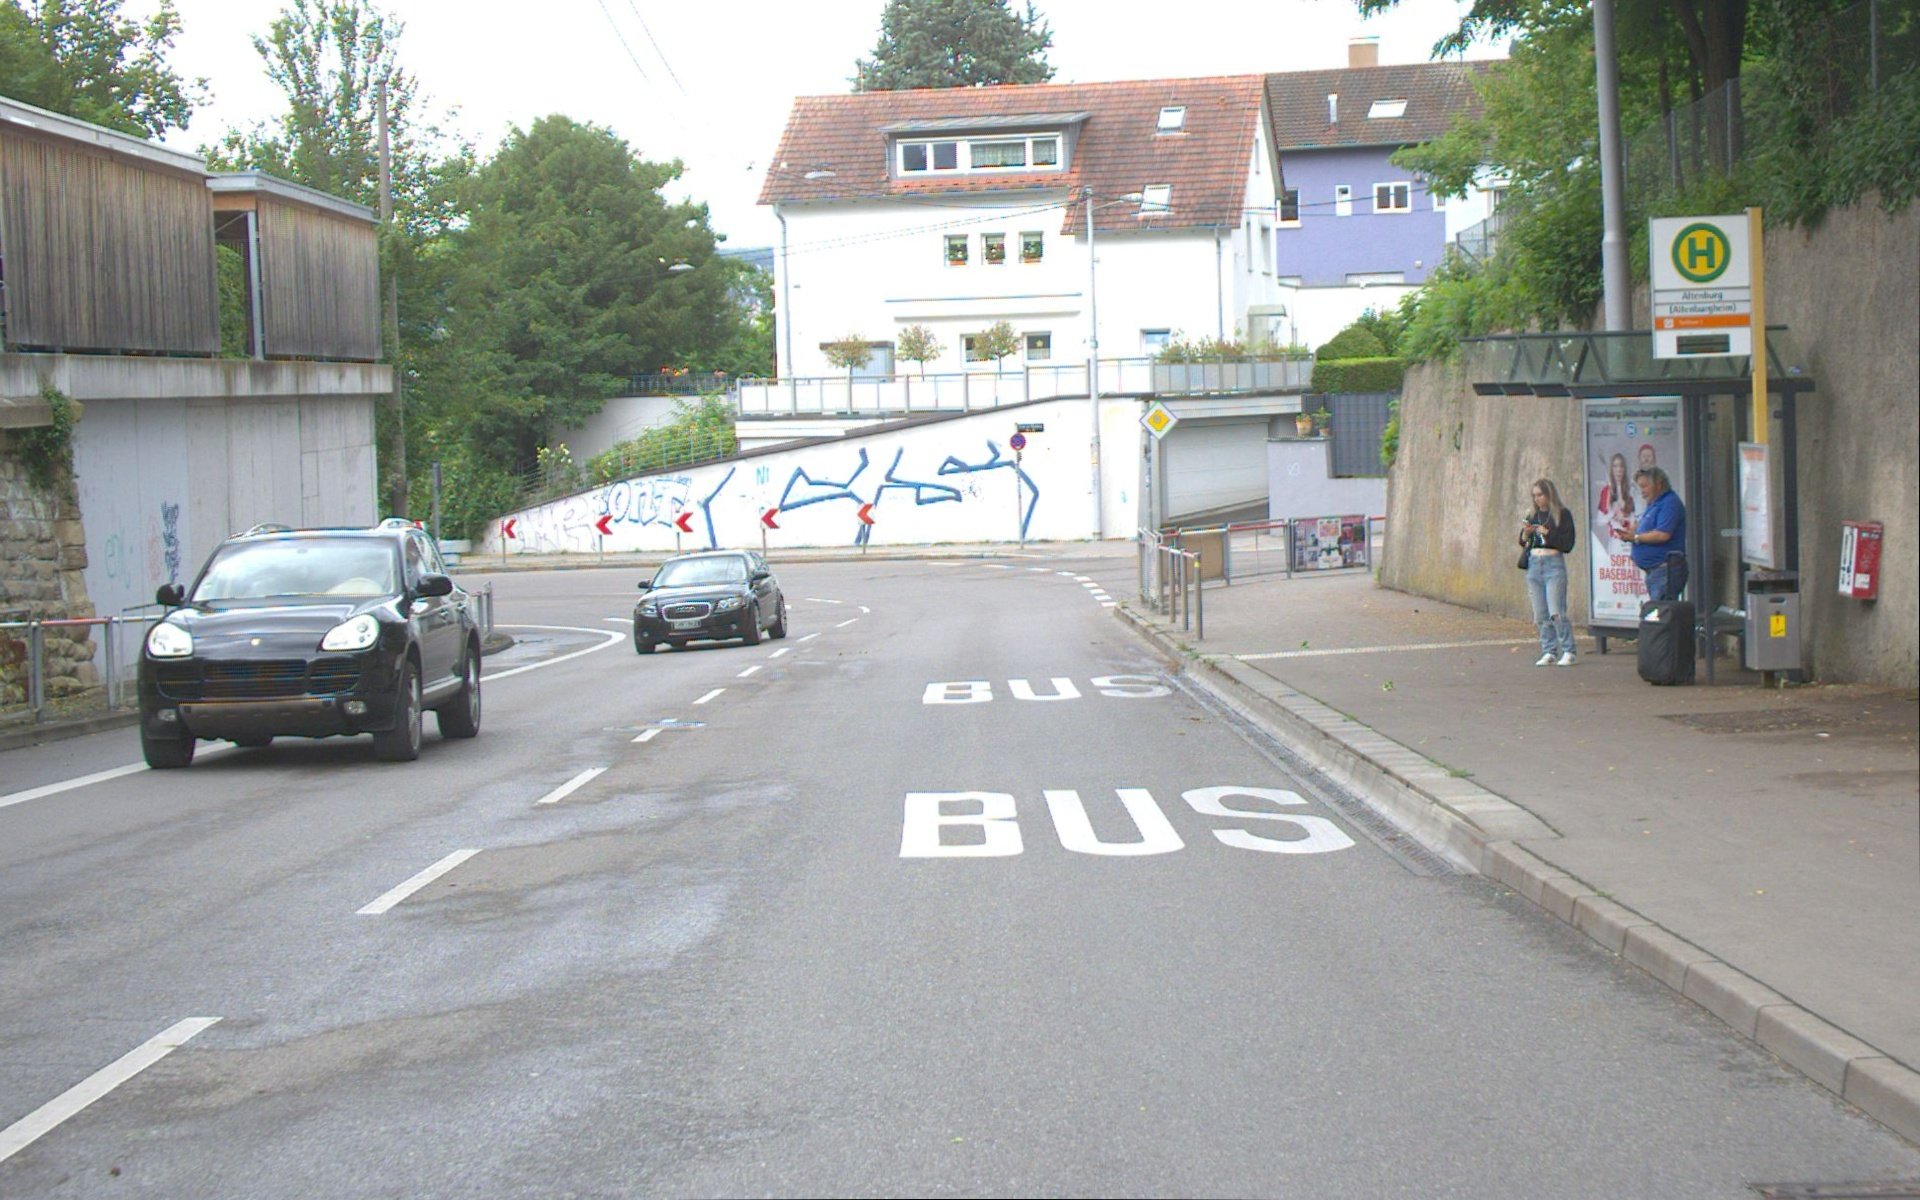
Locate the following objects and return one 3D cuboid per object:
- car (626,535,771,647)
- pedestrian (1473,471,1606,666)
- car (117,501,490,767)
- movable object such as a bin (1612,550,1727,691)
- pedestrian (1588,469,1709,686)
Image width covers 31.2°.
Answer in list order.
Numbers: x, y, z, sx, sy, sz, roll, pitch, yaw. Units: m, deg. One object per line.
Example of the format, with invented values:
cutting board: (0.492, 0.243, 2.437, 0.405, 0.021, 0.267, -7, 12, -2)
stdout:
car: (-3.831, -0.162, 50.919, 1.735, 1.527, 4.000, -2, 1, 1)
pedestrian: (4.894, -0.267, 29.014, 0.737, 1.582, 0.771, -1, 3, 42)
car: (-4.799, 0.196, 25.753, 1.894, 1.750, 4.437, -2, 1, 0)
movable object such as a bin: (5.358, 0.149, 25.971, 0.674, 1.016, 0.627, -2, 2, -5)
pedestrian: (5.336, -0.177, 26.671, 0.721, 1.637, 0.631, -2, 1, -4)
